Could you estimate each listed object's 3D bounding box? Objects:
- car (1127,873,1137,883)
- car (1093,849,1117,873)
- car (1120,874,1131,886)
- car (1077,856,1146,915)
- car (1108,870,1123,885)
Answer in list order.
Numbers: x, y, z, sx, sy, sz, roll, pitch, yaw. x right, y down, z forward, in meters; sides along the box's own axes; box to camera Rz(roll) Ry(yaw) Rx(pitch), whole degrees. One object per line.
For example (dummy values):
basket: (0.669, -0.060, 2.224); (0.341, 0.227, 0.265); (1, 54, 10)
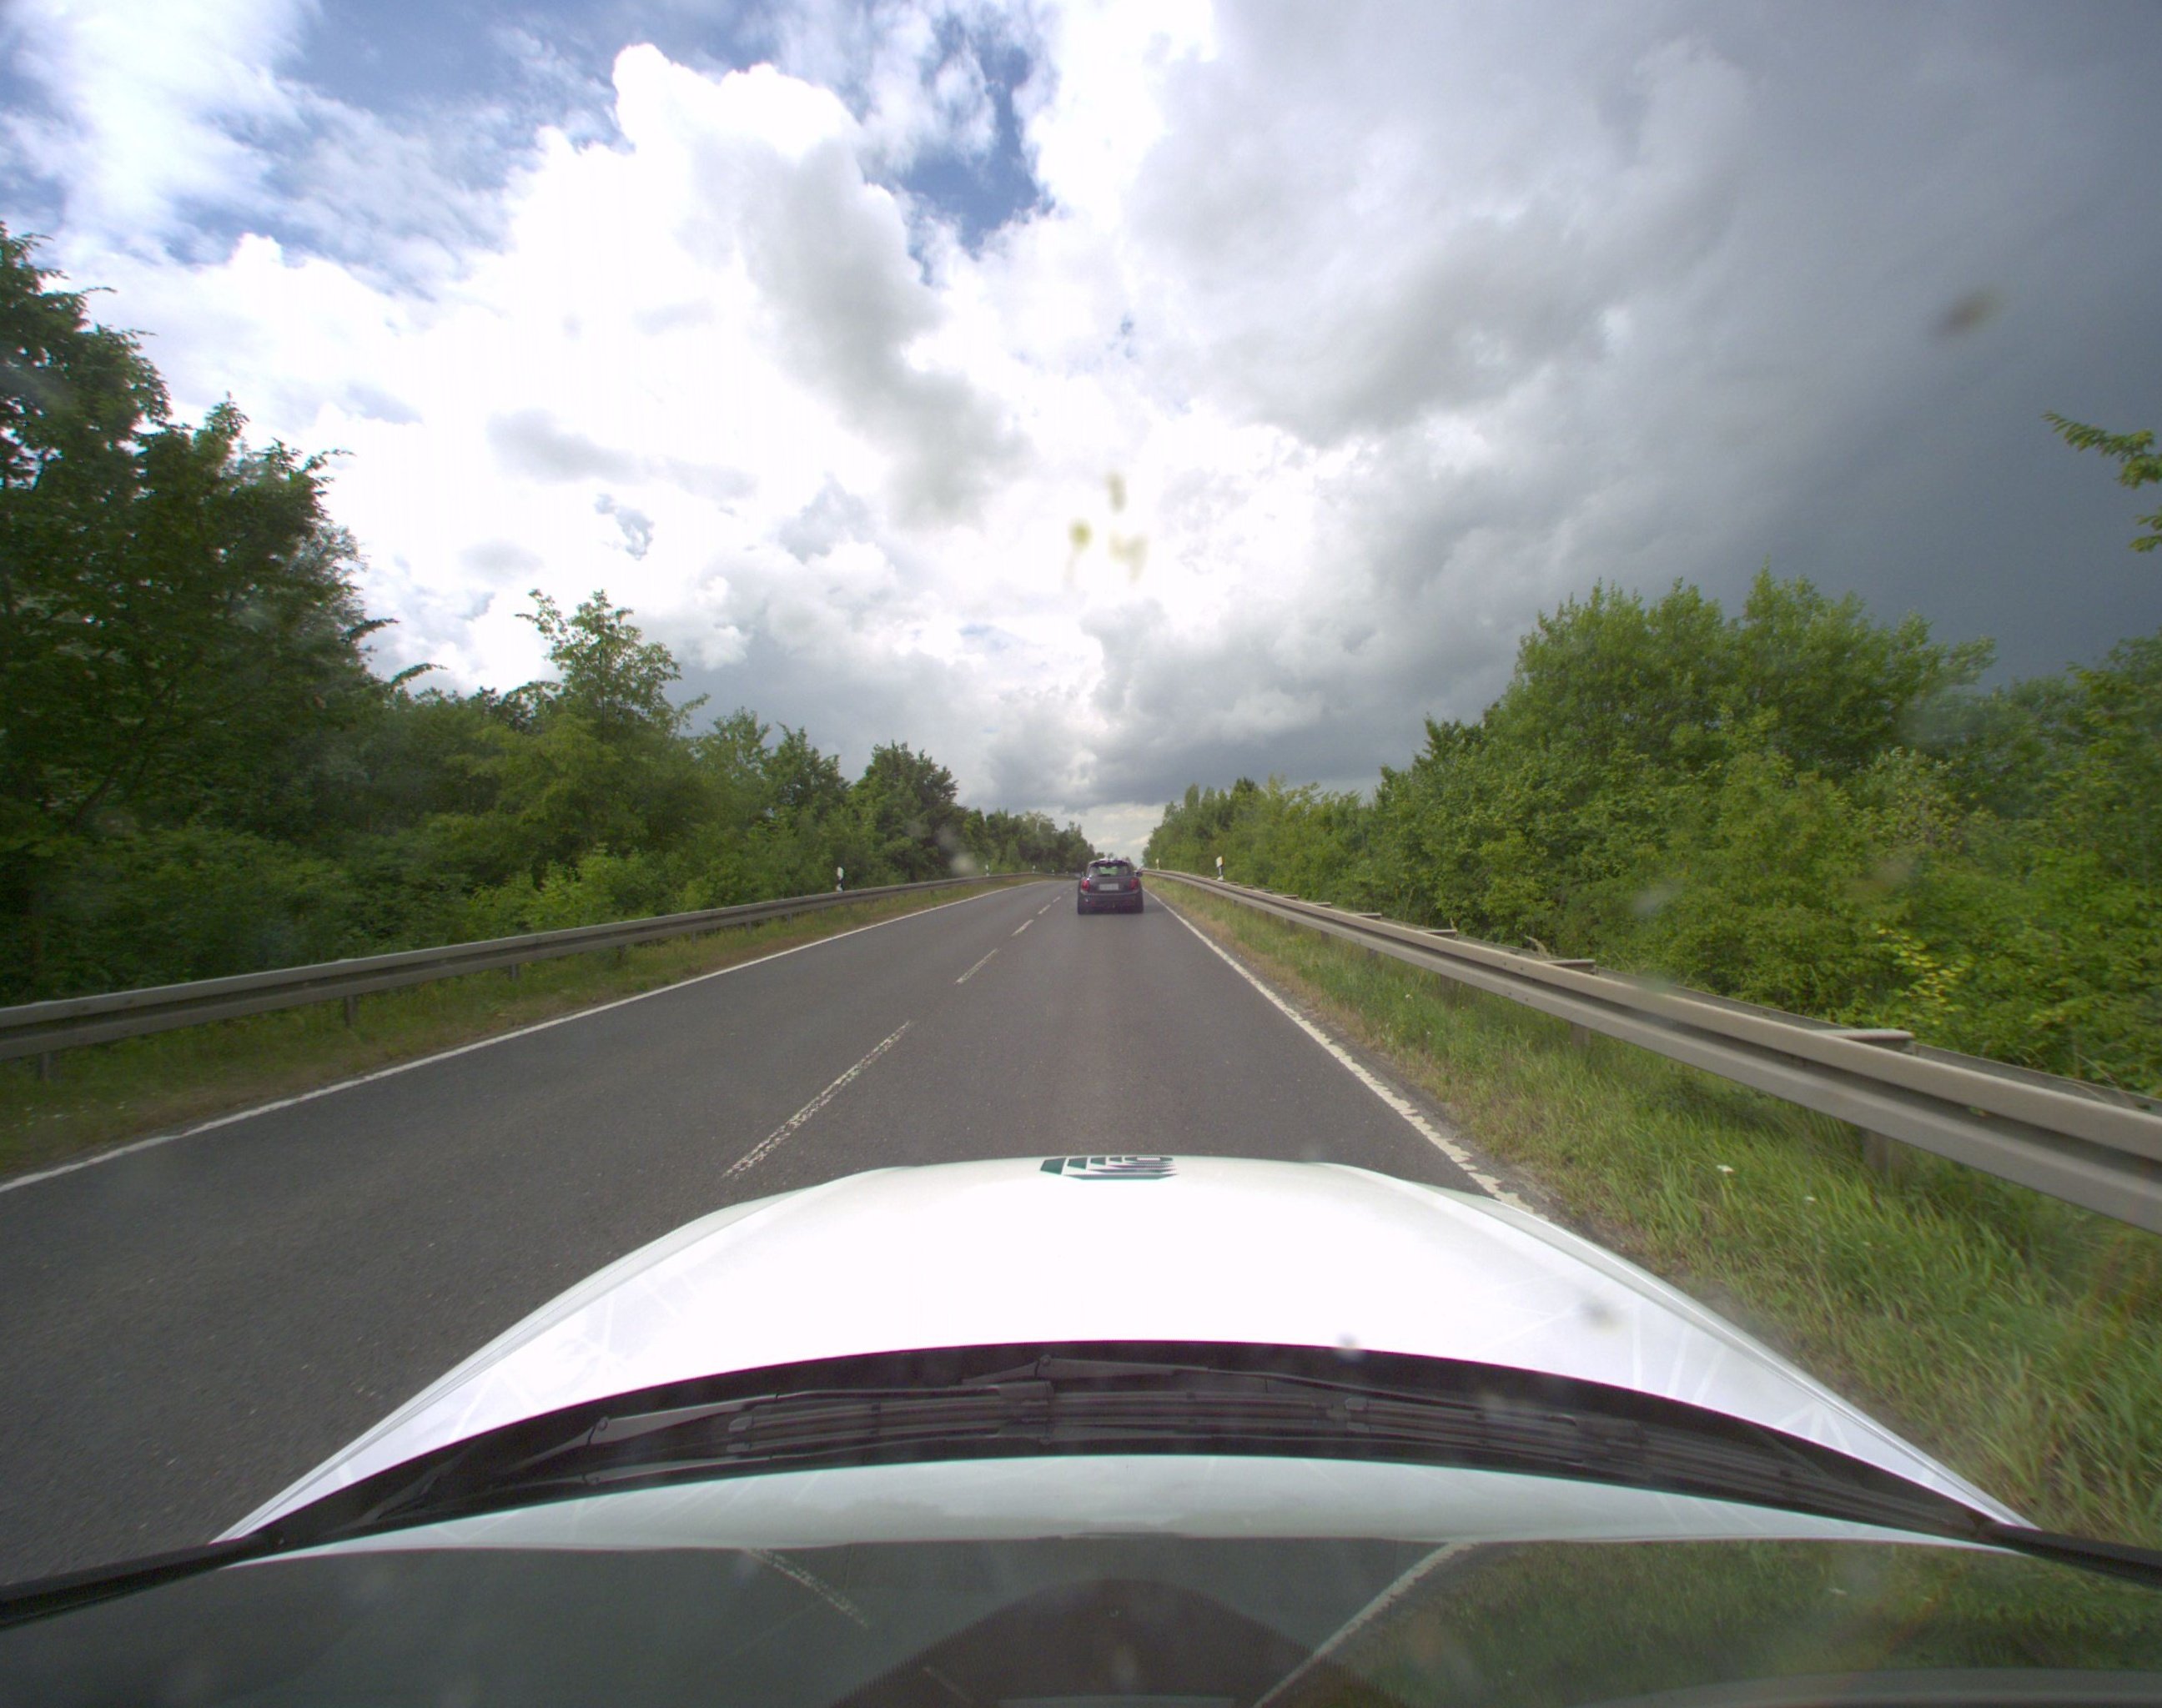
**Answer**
car: (10.709, 5.053, 170.806); (1.983, 2.014, 4.006); (-2, -1, 6)
car: (2.202, 0.649, 75.271); (2.015, 2.013, 4.001); (-2, 0, 1)
car: (8.147, 4.703, 148.522); (1.985, 2.013, 4.004); (-4, -1, 3)
car: (0.849, 0.815, 22.733); (1.725, 1.456, 4.002); (-2, -1, 2)
car: (5.186, 3.507, 122.886); (1.986, 2.013, 4.001); (-3, 0, 2)
